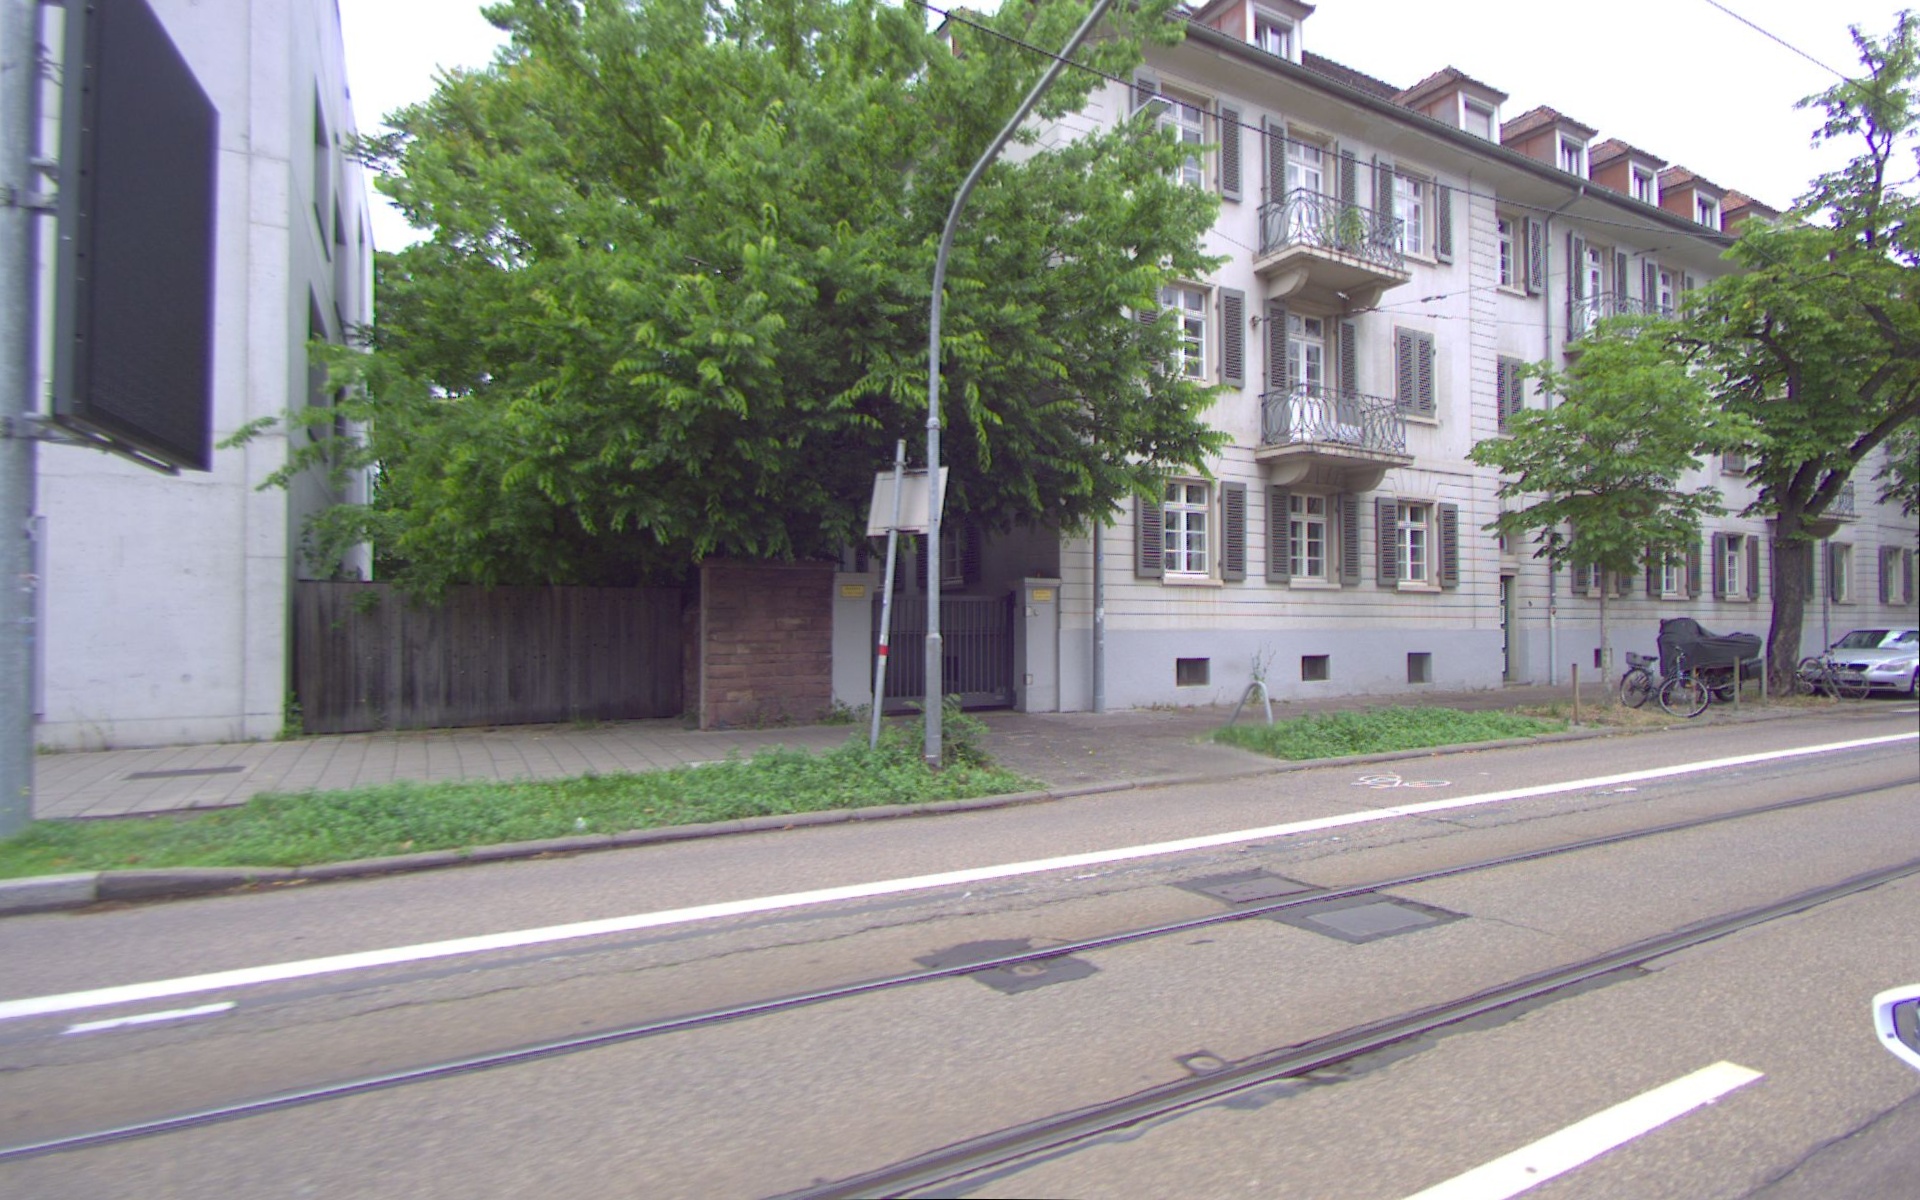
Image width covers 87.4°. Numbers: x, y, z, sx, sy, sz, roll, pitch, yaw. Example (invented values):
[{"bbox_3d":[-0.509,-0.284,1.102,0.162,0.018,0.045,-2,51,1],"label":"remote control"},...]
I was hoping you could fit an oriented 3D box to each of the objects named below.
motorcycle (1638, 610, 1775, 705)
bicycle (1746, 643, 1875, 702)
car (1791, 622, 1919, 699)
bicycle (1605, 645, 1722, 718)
[{"bbox_3d":[13.698,1.027,18.425,2.443,1.665,0.831,0,-2,-22],"label":"motorcycle"},{"bbox_3d":[16.832,1.414,19.933,0.558,1.041,1.883,1,0,-33],"label":"bicycle"},{"bbox_3d":[19.883,1.217,21.497,4.560,1.485,1.803,1,-1,-30],"label":"car"},{"bbox_3d":[11.845,1.344,16.984,0.509,1.144,1.744,0,-2,-11],"label":"bicycle"}]
